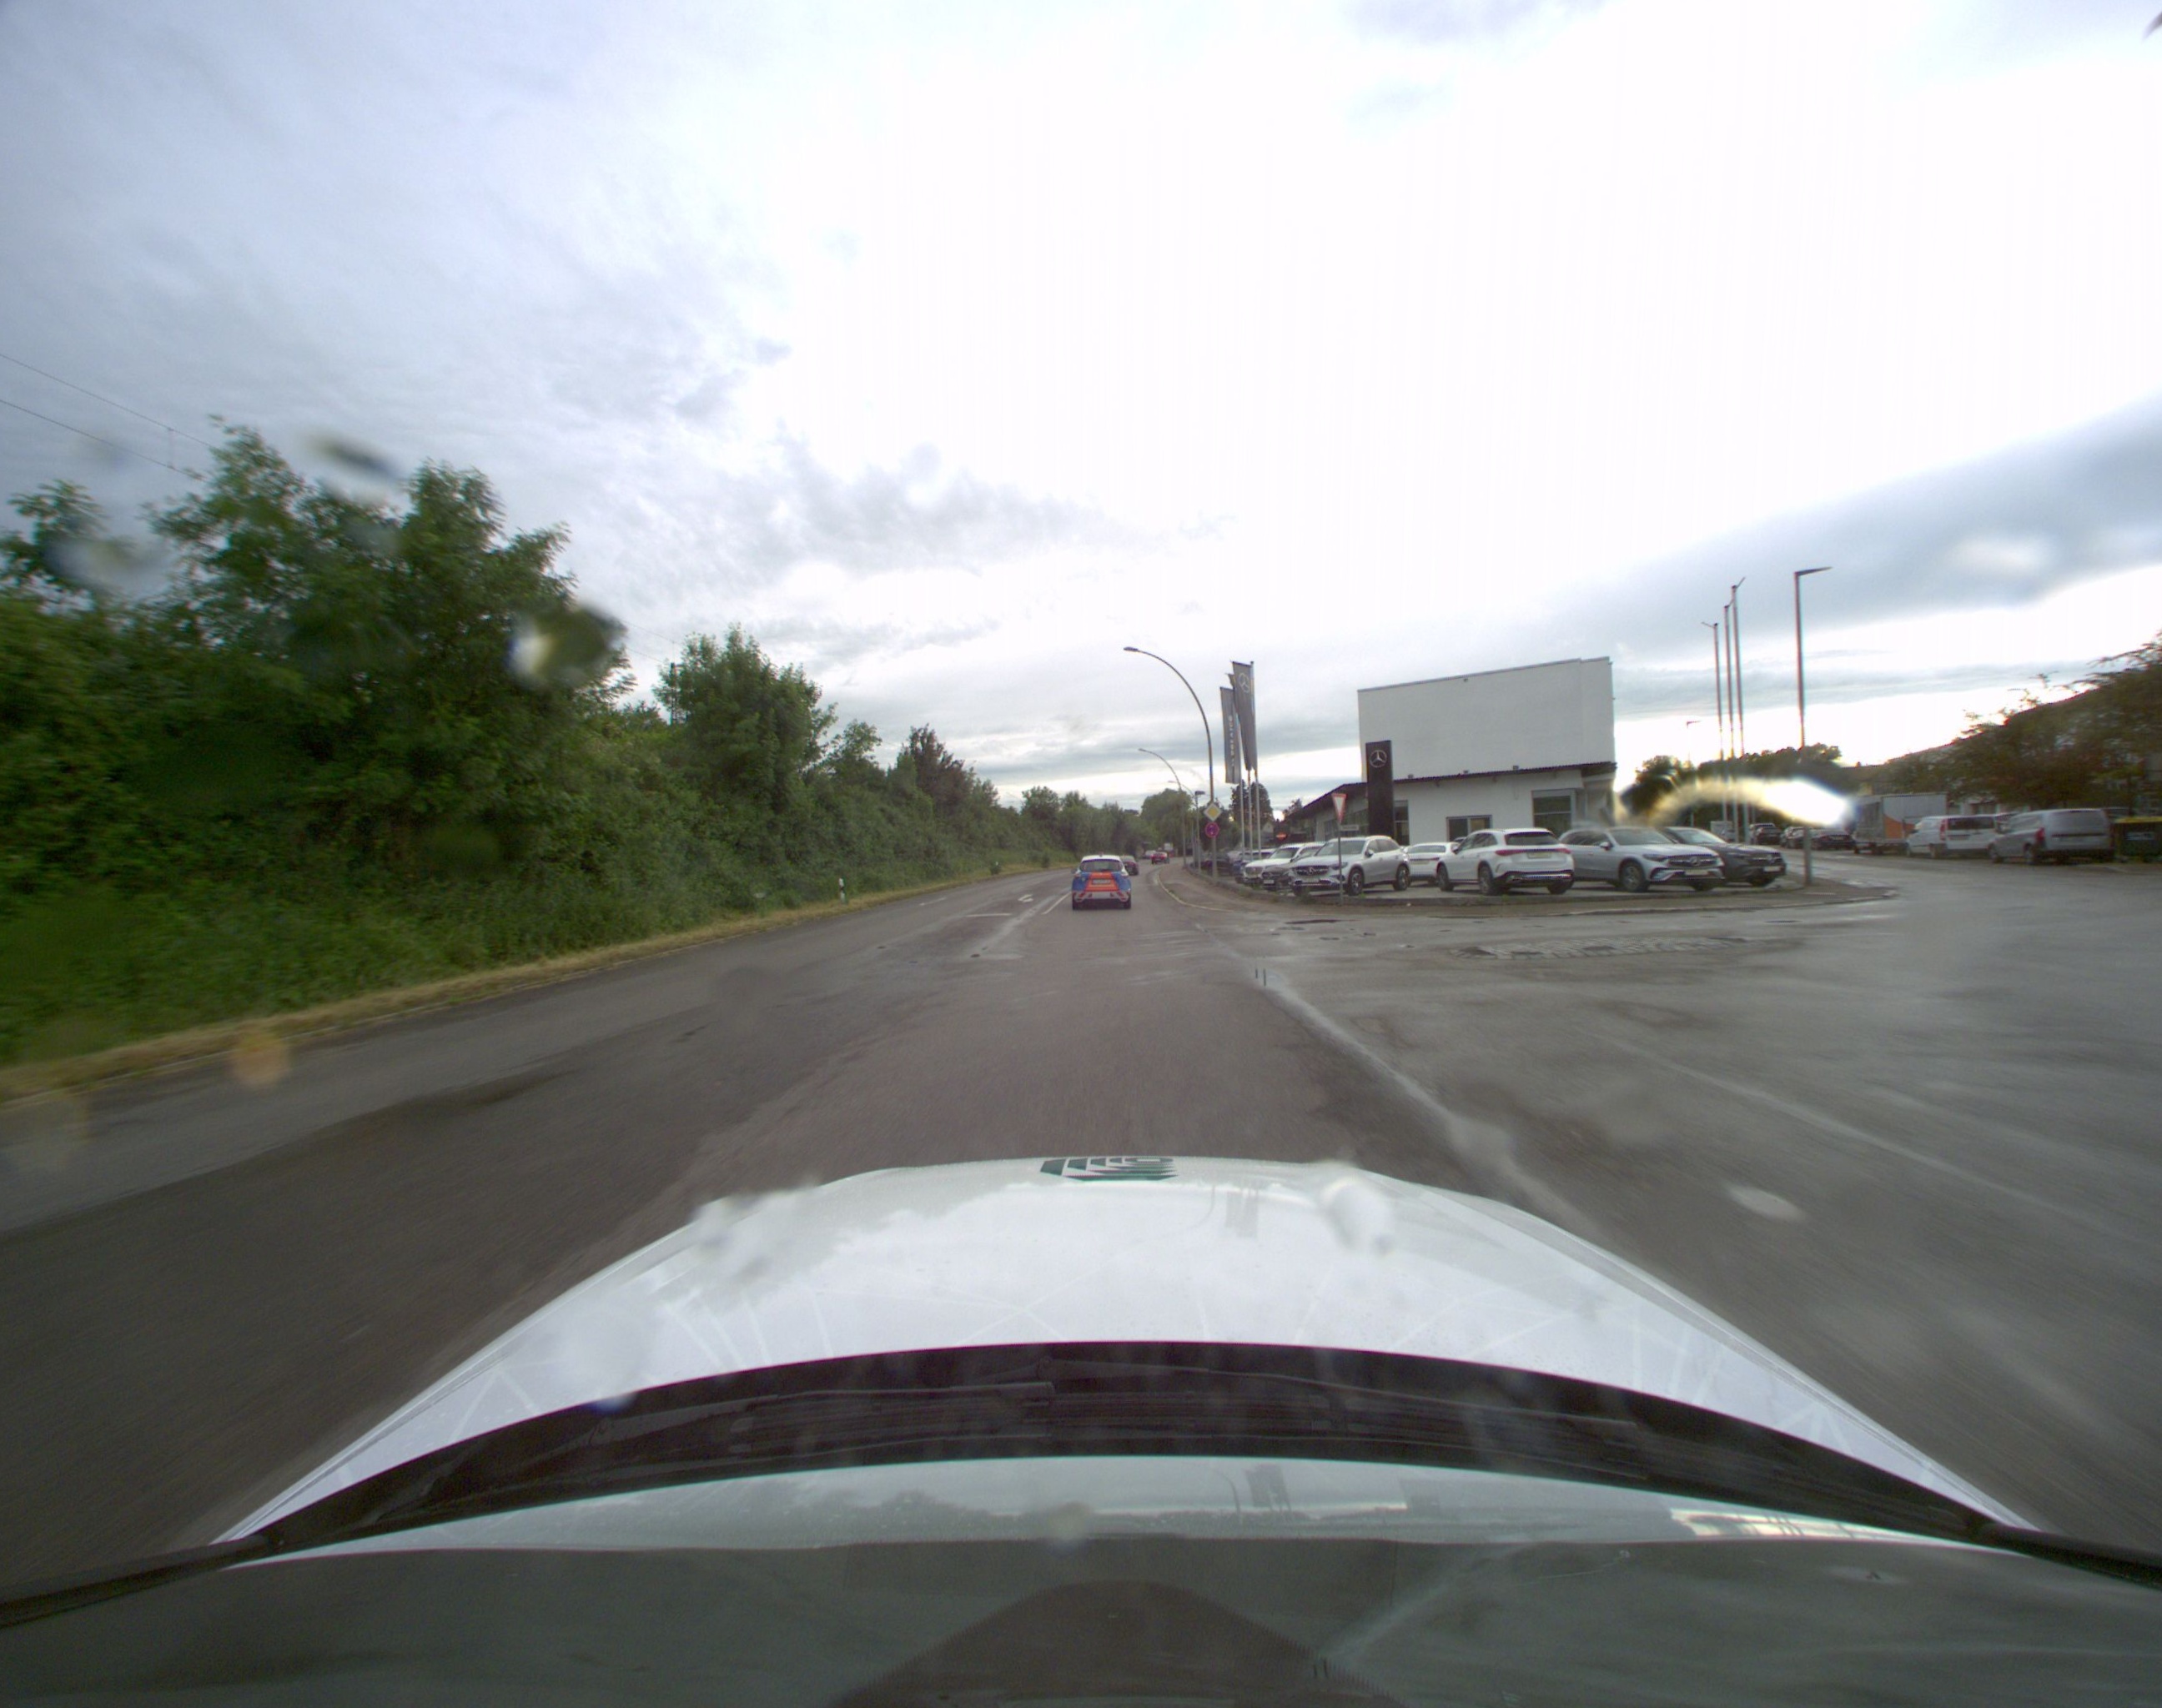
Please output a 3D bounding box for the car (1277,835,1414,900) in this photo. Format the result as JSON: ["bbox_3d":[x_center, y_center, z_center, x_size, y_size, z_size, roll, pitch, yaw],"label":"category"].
[{"bbox_3d":[7.709,0.342,23.514,4.391,1.671,1.942,-2,0,-45],"label":"car"}]

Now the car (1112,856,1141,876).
[{"bbox_3d":[3.294,0.816,58.219,1.710,1.376,3.944,-1,-1,9],"label":"car"}]

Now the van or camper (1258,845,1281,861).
[{"bbox_3d":[32.207,-0.260,139.044,2.022,2.593,6.630,-2,0,28],"label":"van or camper"}]

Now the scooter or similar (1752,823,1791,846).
[{"bbox_3d":[63.413,-1.780,74.909,1.974,2.020,5.351,-2,0,32],"label":"scooter or similar"}]

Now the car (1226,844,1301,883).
[{"bbox_3d":[9.317,0.449,41.343,1.820,1.632,4.394,-5,-1,40],"label":"car"}]

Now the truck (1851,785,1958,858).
[{"bbox_3d":[42.195,-1.533,41.959,2.538,3.414,6.691,-1,-1,34],"label":"truck"}]

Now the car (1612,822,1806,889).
[{"bbox_3d":[16.983,0.040,22.335,1.841,1.604,4.113,-2,0,-7],"label":"car"}]

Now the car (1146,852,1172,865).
[{"bbox_3d":[9.419,0.529,98.460,1.976,1.420,4.021,-2,0,22],"label":"car"}]

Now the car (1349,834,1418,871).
[{"bbox_3d":[14.528,-0.085,38.980,1.879,1.545,4.026,-3,0,39],"label":"car"}]

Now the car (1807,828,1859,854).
[{"bbox_3d":[49.726,-0.853,53.955,1.974,1.596,4.026,-2,0,35],"label":"car"}]

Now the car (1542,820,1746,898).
[{"bbox_3d":[13.878,0.109,20.478,2.015,1.676,4.505,-2,0,1],"label":"car"}]

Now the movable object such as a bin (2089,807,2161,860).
[{"bbox_3d":[31.464,-0.576,23.590,2.381,1.487,1.992,0,-1,-12],"label":"movable object such as a bin"}]

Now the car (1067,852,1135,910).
[{"bbox_3d":[0.608,0.773,24.803,1.882,1.632,4.001,0,-1,1],"label":"car"}]

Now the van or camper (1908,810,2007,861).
[{"bbox_3d":[37.686,-0.781,35.152,1.785,2.040,4.025,-2,0,31],"label":"van or camper"}]

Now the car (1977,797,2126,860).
[{"bbox_3d":[33.519,-0.807,28.317,1.810,2.014,4.478,-1,-1,29],"label":"car"}]

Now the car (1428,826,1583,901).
[{"bbox_3d":[10.806,0.226,21.162,1.799,1.673,4.715,-2,0,4],"label":"car"}]

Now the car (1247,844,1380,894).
[{"bbox_3d":[7.878,0.488,27.533,4.151,1.394,1.836,-3,0,-27],"label":"car"}]

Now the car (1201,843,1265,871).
[{"bbox_3d":[9.894,0.200,53.335,1.845,1.608,4.514,-4,1,-24],"label":"car"}]

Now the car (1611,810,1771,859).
[{"bbox_3d":[20.655,-0.630,27.753,1.776,1.460,3.965,-4,1,-27],"label":"car"}]

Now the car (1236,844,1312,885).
[{"bbox_3d":[8.883,0.471,37.366,1.709,1.599,3.839,-4,-1,41],"label":"car"}]

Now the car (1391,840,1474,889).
[{"bbox_3d":[12.000,0.316,27.605,1.941,1.499,4.393,-2,0,31],"label":"car"}]

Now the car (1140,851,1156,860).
[{"bbox_3d":[11.191,0.307,135.895,1.980,1.474,4.717,-1,-1,13],"label":"car"}]

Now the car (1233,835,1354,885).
[{"bbox_3d":[8.195,0.204,31.259,4.443,1.652,1.908,-3,0,-32],"label":"car"}]

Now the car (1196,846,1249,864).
[{"bbox_3d":[13.509,0.150,77.811,4.637,1.662,2.013,-1,-1,36],"label":"car"}]

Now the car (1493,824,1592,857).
[{"bbox_3d":[24.485,-0.718,43.213,4.353,1.442,2.013,-3,1,34],"label":"car"}]

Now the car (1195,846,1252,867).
[{"bbox_3d":[10.978,0.183,62.967,3.949,1.556,1.910,-1,-1,43],"label":"car"}]
